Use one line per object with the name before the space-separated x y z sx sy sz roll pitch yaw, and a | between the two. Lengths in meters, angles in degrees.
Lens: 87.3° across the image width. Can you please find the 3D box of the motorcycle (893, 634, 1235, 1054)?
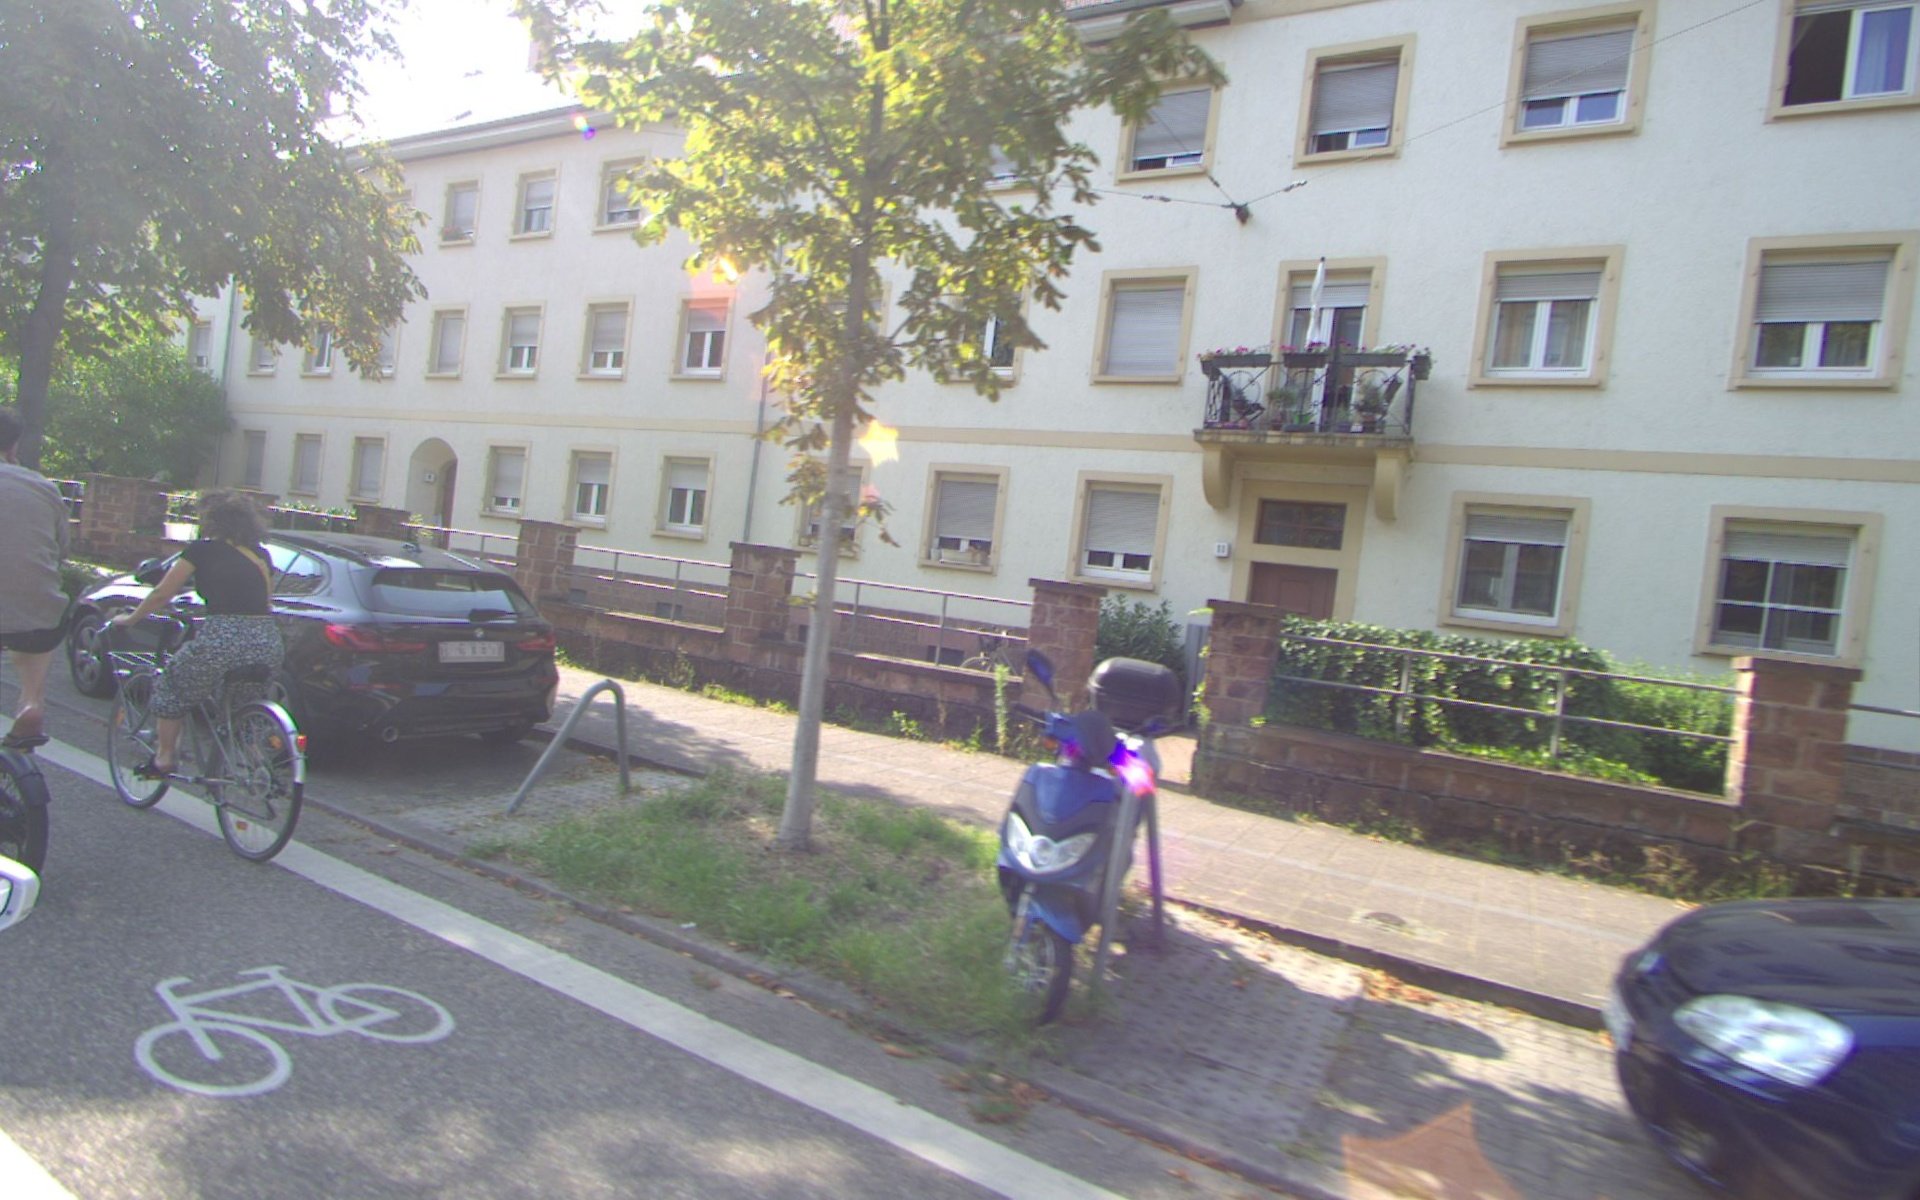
motorcycle | 0.564 0.887 4.443 0.692 1.308 1.856 13 6 25

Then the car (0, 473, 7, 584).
car | -13.915 -1.039 12.577 4.025 1.522 1.691 7 2 28

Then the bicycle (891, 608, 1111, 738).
bicycle | 0.450 0.807 11.557 2.292 1.117 0.773 8 0 26

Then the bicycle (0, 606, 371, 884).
bicycle | -3.665 0.615 4.709 1.744 0.919 0.656 7 -2 28

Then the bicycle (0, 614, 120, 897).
bicycle | -4.068 0.520 3.908 1.498 0.919 0.628 7 -2 28

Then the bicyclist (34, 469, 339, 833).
bicyclist | -3.600 0.219 4.702 0.893 1.490 0.656 7 -1 28

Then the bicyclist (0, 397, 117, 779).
bicyclist | -3.991 -0.088 3.925 0.913 1.417 0.628 7 -1 28

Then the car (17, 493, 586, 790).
car | -5.018 0.158 7.536 4.261 1.454 1.691 7 3 28

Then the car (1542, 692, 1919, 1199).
car | 3.910 1.291 2.406 4.173 1.467 1.647 7 1 29
